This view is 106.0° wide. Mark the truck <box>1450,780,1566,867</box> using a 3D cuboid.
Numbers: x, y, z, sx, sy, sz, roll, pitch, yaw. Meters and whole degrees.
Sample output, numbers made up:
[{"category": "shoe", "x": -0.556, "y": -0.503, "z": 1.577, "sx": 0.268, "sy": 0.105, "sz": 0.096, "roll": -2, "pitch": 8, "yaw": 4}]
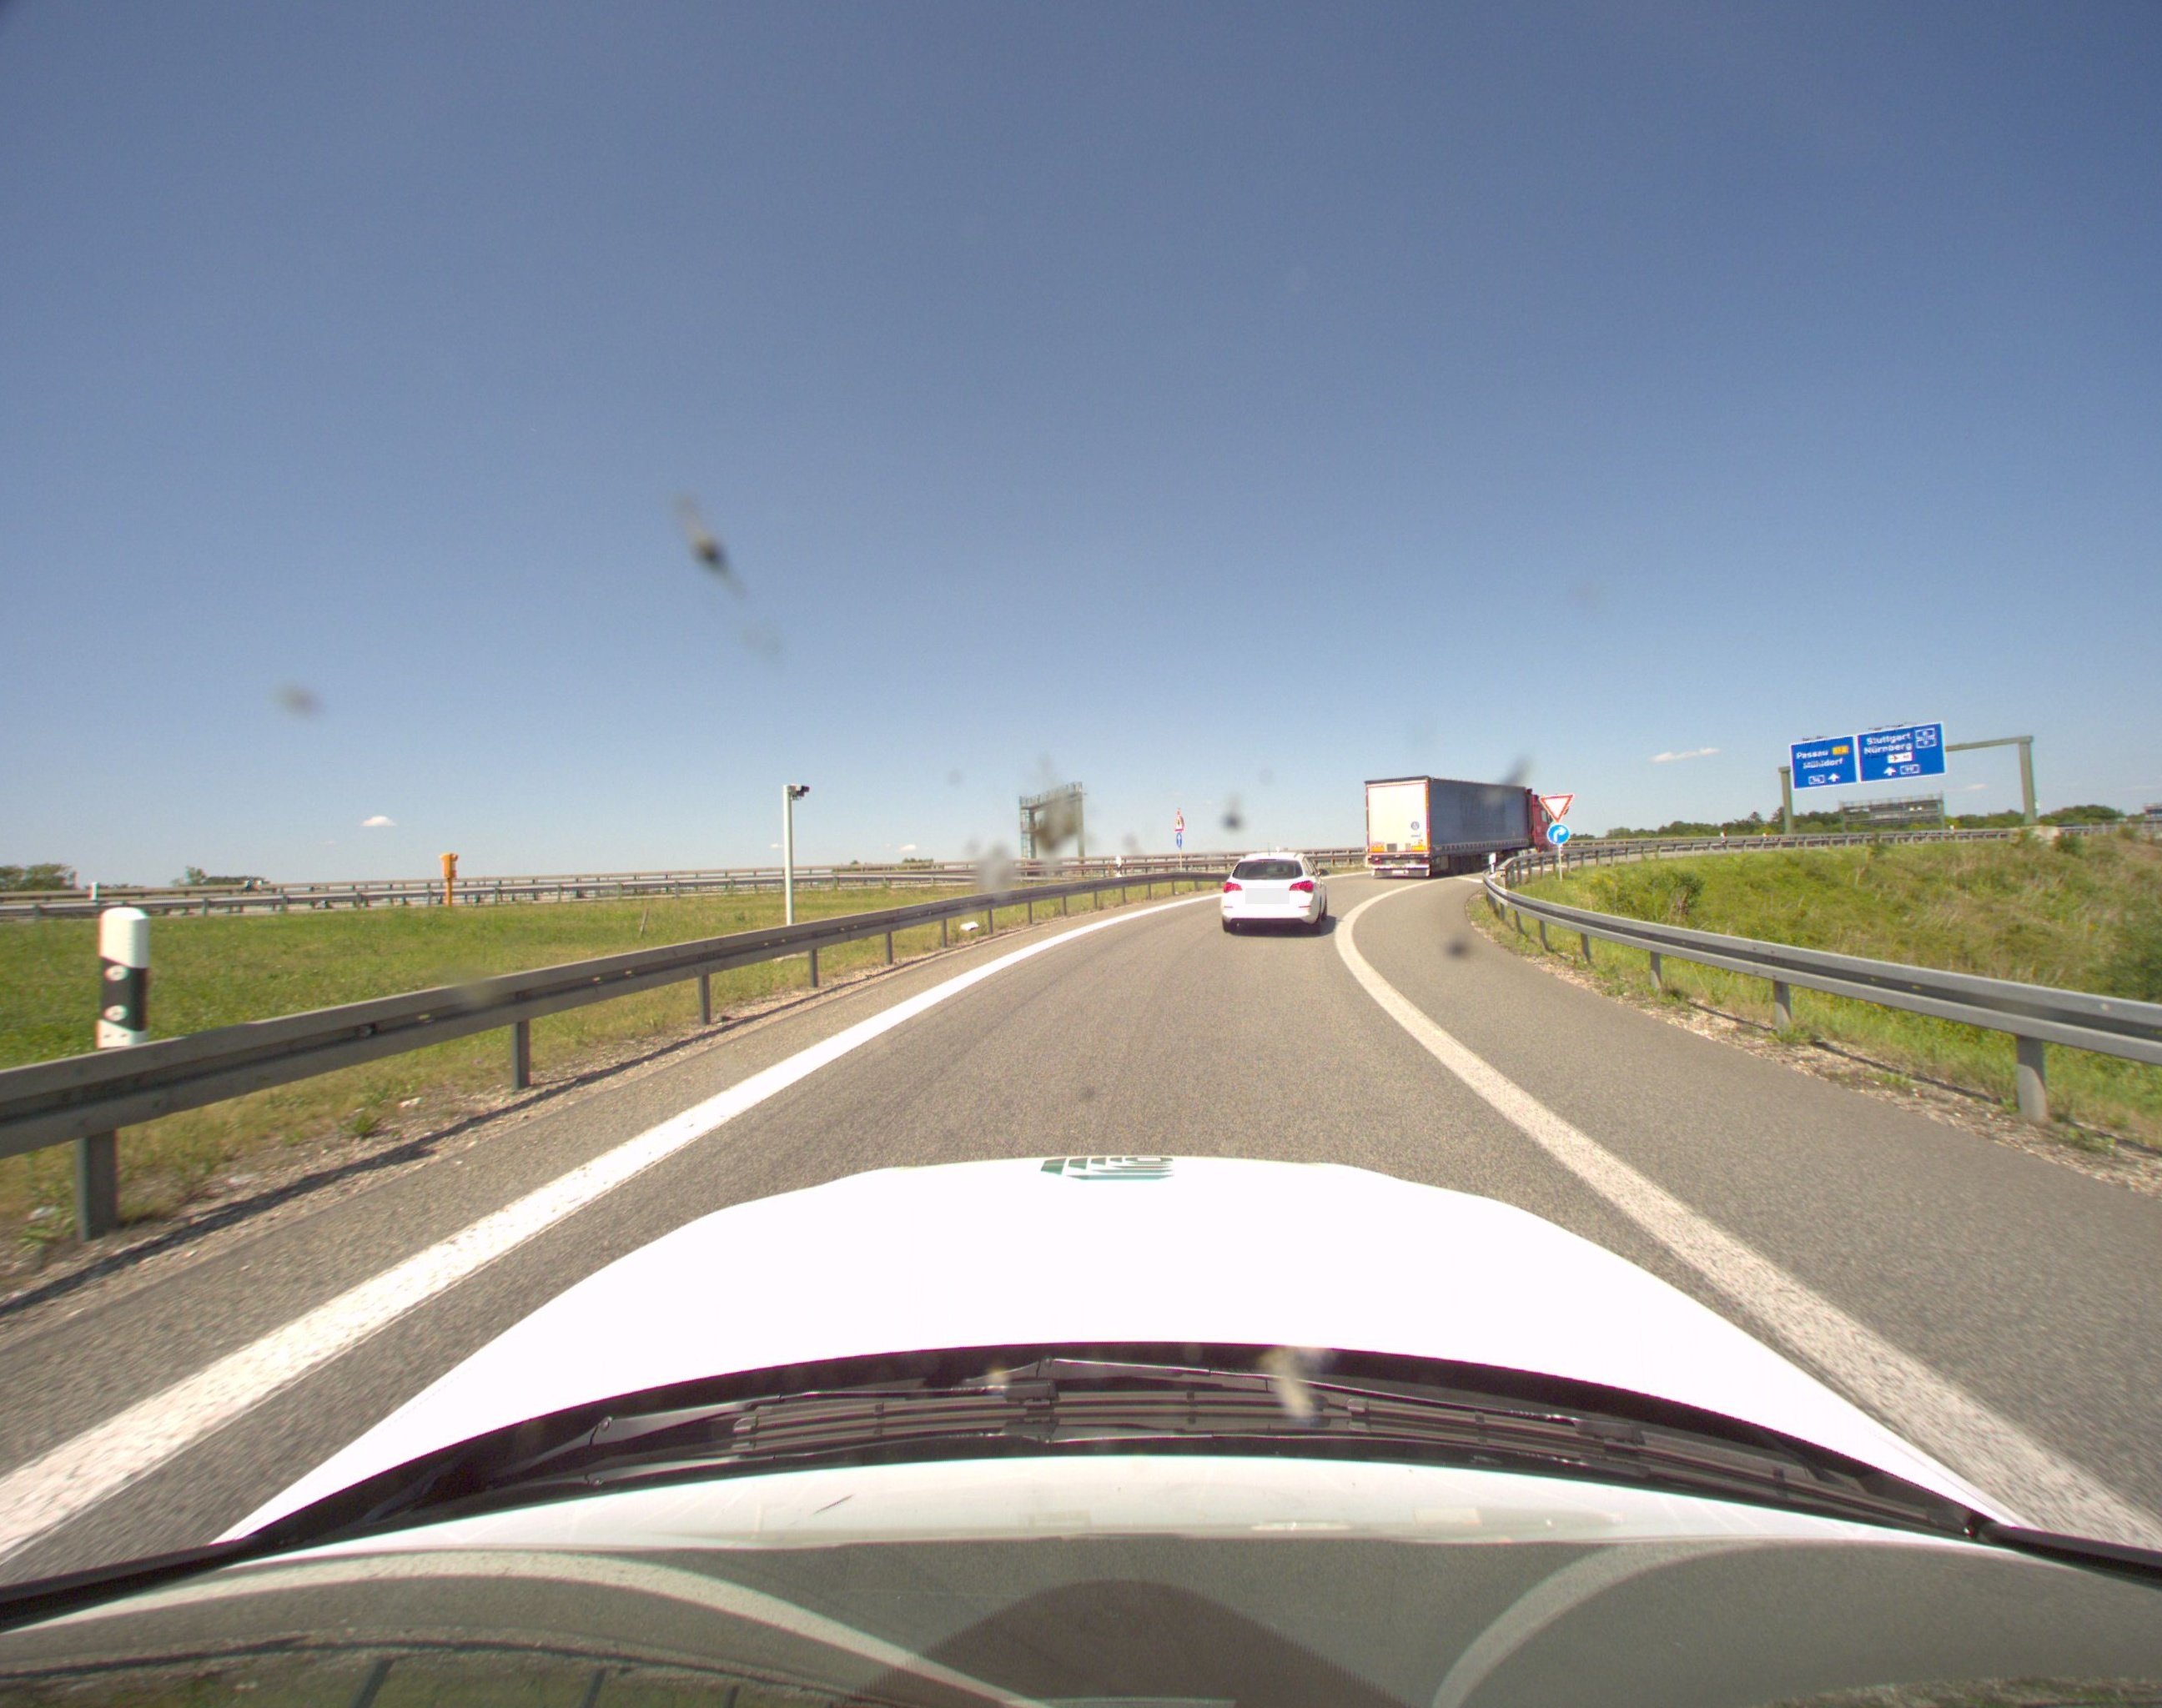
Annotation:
[{"category": "truck", "x": 22.218, "y": -1.433, "z": 42.264, "sx": 6.962, "sy": 4.145, "sz": 2.887, "roll": 0, "pitch": -1, "yaw": -40}]

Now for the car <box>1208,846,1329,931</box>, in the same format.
[{"category": "car", "x": 3.863, "y": 0.614, "z": 16.195, "sx": 1.839, "sy": 1.443, "sz": 4.393, "roll": -2, "pitch": -1, "yaw": 19}]

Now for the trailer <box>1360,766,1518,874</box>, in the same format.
[{"category": "trailer", "x": 16.326, "y": -1.291, "z": 36.442, "sx": 2.885, "sy": 4.145, "sz": 11.325, "roll": -2, "pitch": -1, "yaw": 43}]
